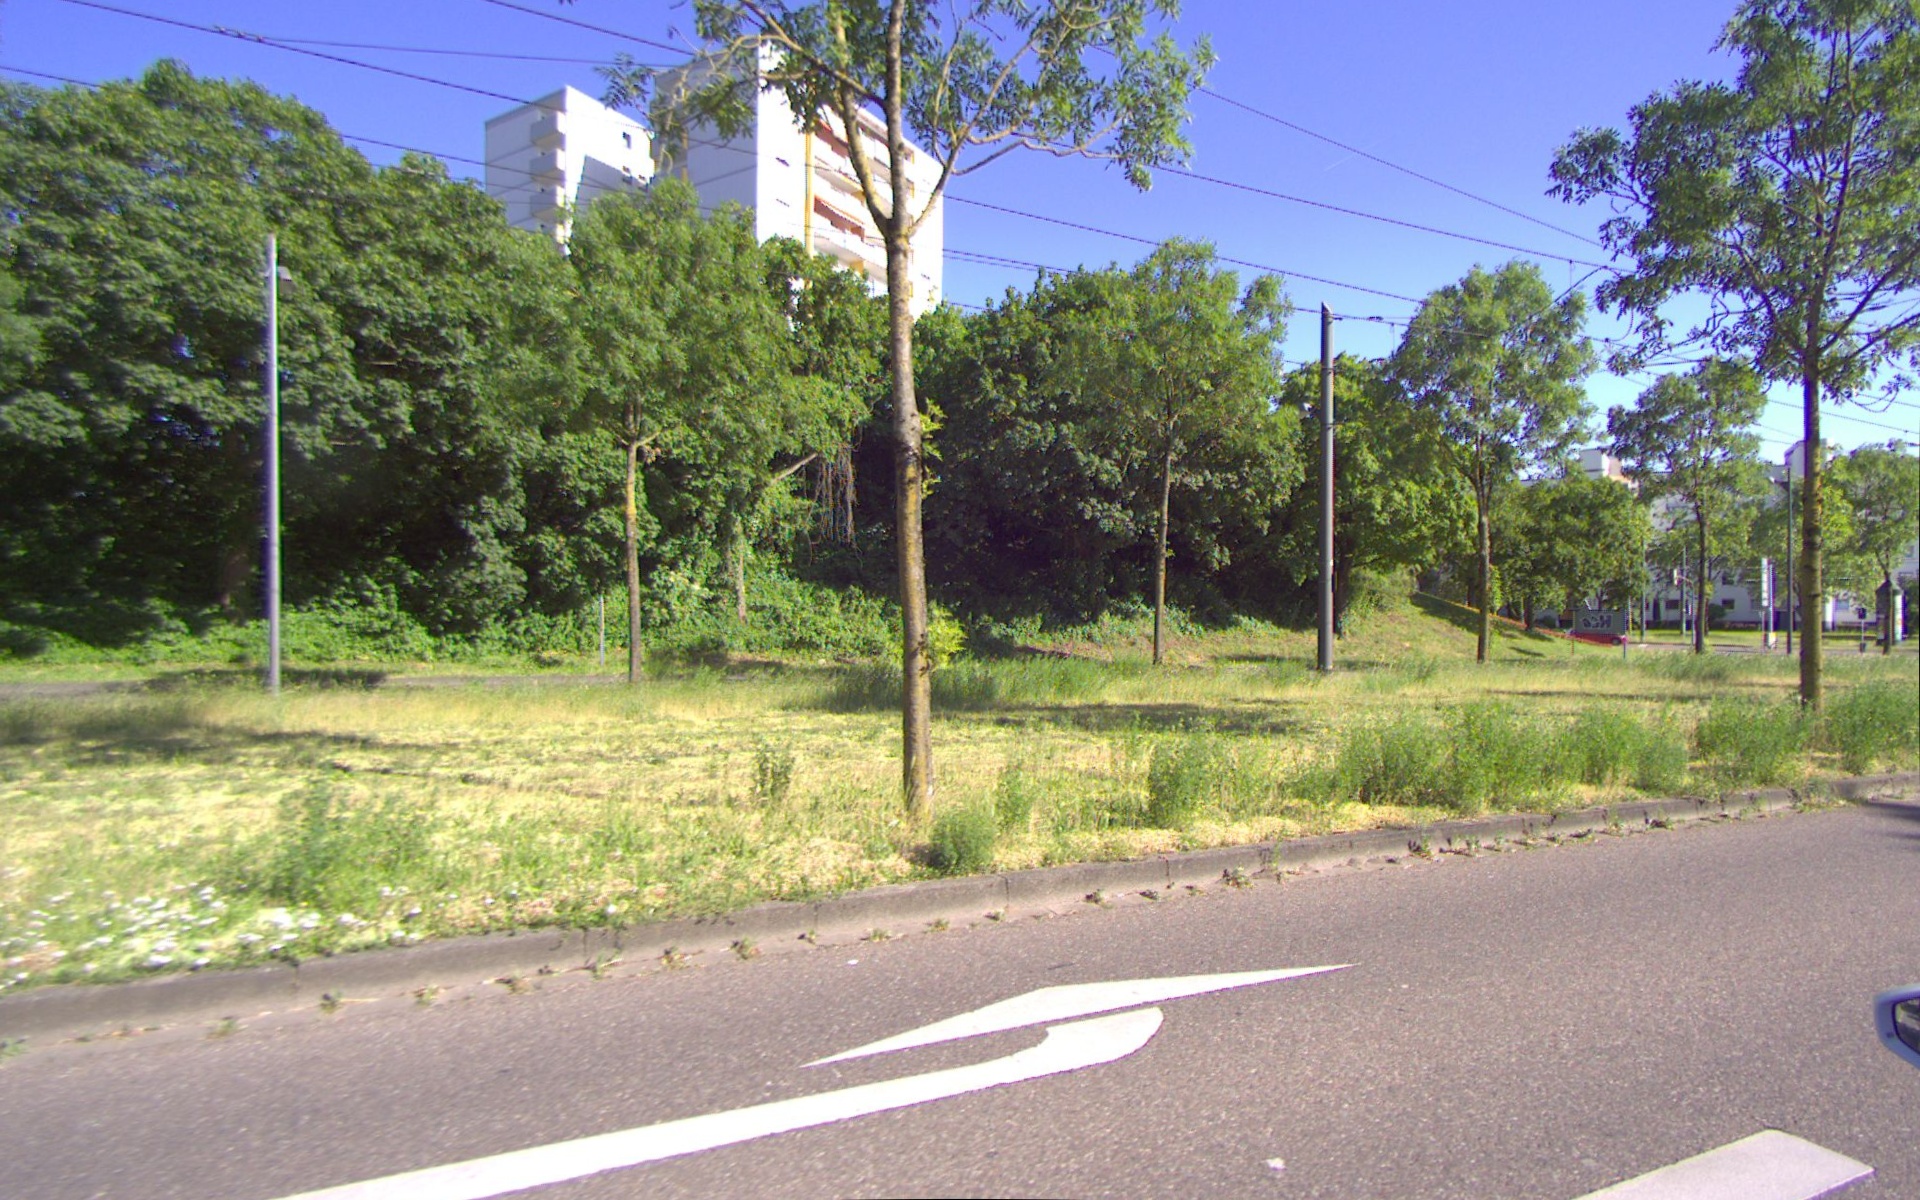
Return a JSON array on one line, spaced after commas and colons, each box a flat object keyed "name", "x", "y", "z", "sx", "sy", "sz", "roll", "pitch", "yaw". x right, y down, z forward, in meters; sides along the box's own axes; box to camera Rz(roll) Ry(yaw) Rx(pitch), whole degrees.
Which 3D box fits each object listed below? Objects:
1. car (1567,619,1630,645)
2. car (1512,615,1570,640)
[{"name": "car", "x": 50.974, "y": 2.499, "z": 80.214, "sx": 4.203, "sy": 1.926, "sz": 1.994, "roll": 1, "pitch": 0, "yaw": 35}, {"name": "car", "x": 49.618, "y": 2.341, "z": 85.799, "sx": 4.203, "sy": 1.926, "sz": 1.994, "roll": 1, "pitch": 0, "yaw": 35}]
